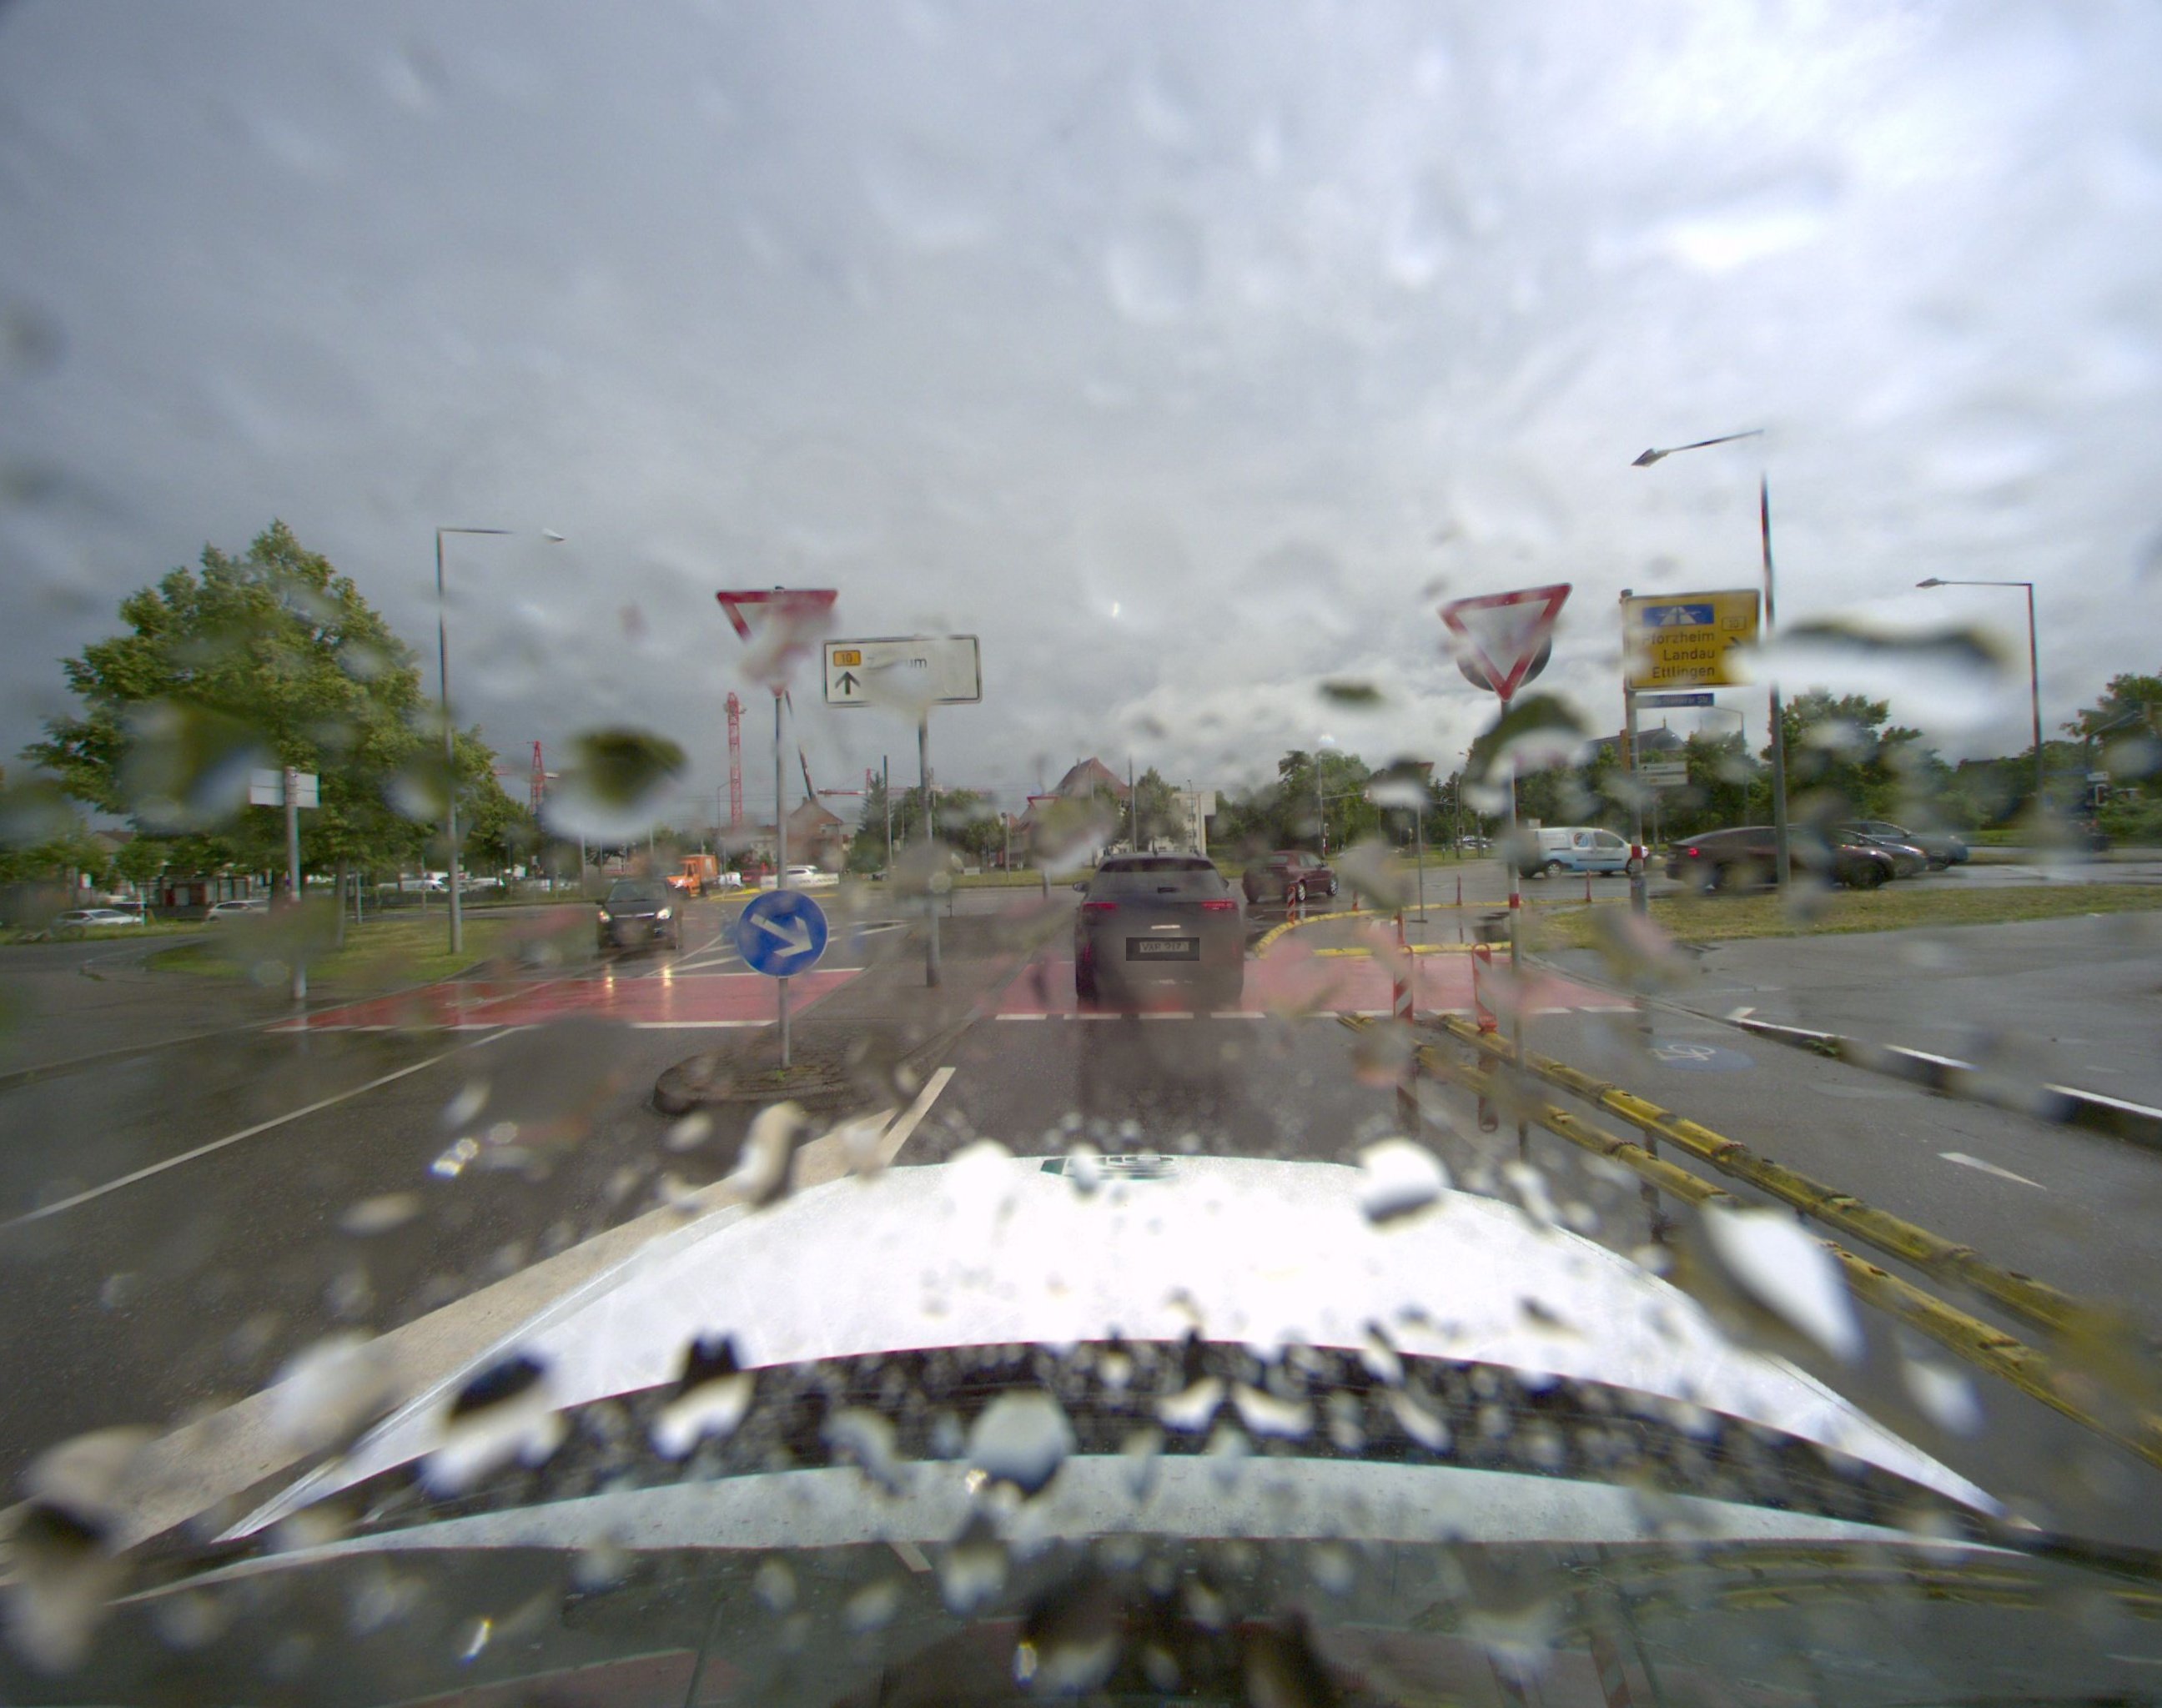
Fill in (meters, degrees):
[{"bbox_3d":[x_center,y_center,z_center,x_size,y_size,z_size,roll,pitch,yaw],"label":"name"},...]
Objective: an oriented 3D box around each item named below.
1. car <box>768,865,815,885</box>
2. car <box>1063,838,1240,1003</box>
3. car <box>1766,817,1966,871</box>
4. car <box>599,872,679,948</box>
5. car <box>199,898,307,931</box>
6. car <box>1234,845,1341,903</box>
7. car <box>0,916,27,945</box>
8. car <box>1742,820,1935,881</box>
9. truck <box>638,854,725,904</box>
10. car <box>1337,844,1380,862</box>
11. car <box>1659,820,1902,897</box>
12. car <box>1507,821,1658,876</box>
[{"bbox_3d":[-25.217,1.799,70.899,3.523,1.584,1.549,-2,0,-37],"label":"car"},{"bbox_3d":[0.682,0.671,9.839,1.703,1.574,3.681,-1,-1,-1],"label":"car"},{"bbox_3d":[25.720,-0.301,26.896,4.350,1.548,1.881,-2,0,24],"label":"car"},{"bbox_3d":[-11.009,1.310,20.324,1.575,1.648,3.619,-2,0,-29],"label":"car"},{"bbox_3d":[-47.666,3.464,46.939,4.384,1.628,1.630,-2,0,-1],"label":"car"},{"bbox_3d":[6.124,0.548,23.922,1.718,1.514,3.627,-2,0,37],"label":"car"},{"bbox_3d":[-66.167,4.651,48.655,4.378,1.628,1.632,-2,0,3],"label":"car"},{"bbox_3d":[22.497,-0.080,24.406,3.903,1.644,1.681,-2,0,30],"label":"car"},{"bbox_3d":[-23.706,1.400,48.725,2.320,2.650,7.072,-2,0,-7],"label":"truck"},{"bbox_3d":[26.150,-0.062,76.897,1.738,1.548,3.556,-2,0,-29],"label":"car"},{"bbox_3d":[17.917,0.125,21.134,4.308,1.725,2.009,-3,0,16],"label":"car"},{"bbox_3d":[18.227,-0.185,29.701,4.379,1.809,1.868,-2,0,-3],"label":"car"}]
